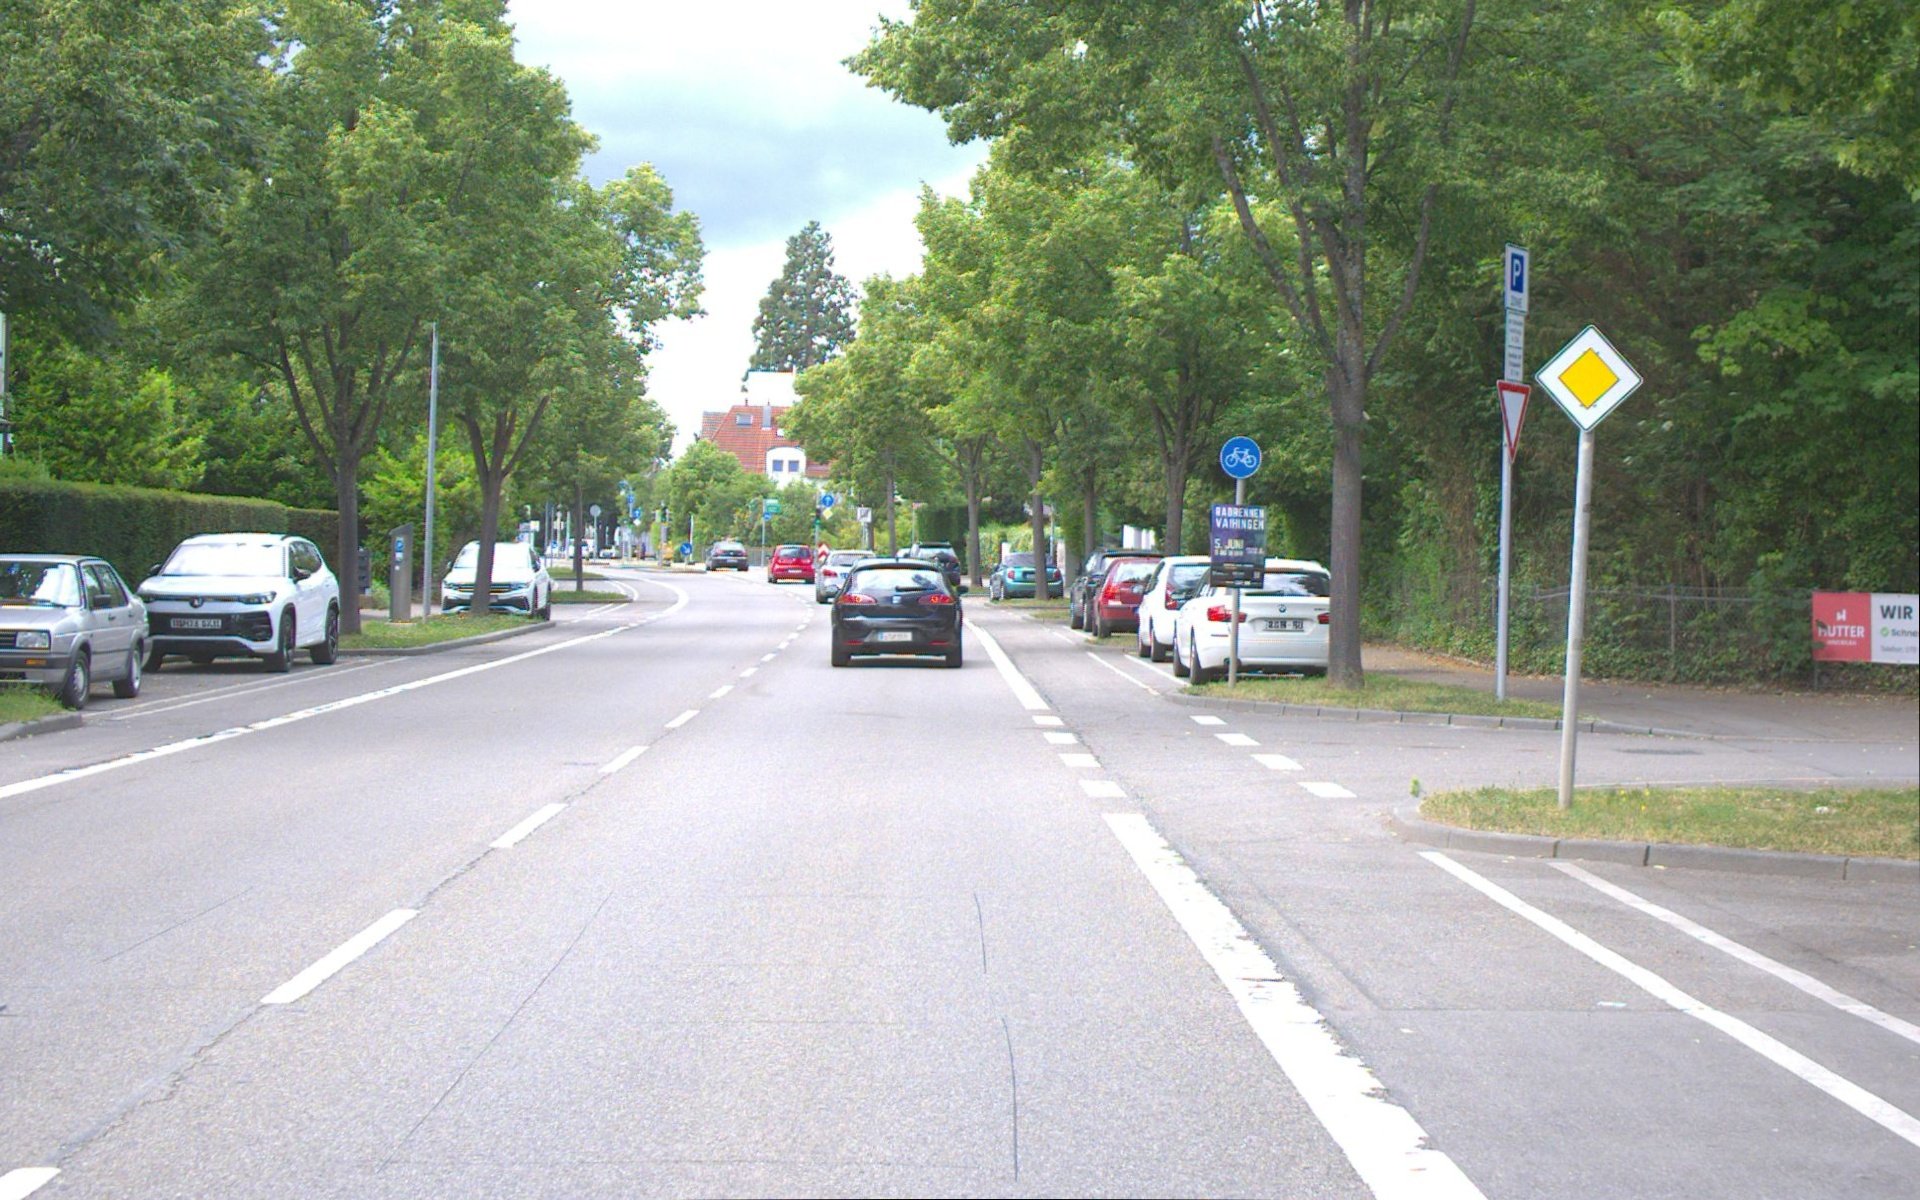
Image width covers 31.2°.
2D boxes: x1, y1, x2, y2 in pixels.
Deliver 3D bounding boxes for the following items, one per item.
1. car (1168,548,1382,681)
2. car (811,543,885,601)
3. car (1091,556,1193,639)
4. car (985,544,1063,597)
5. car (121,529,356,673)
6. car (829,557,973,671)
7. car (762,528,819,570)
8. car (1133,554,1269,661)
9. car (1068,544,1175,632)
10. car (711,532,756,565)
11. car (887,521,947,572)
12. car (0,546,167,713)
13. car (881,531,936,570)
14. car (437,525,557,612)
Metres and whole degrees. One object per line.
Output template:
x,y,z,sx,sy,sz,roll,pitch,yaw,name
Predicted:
3.652,0.126,40.703,2.021,1.438,5.025,1,1,0,car
-3.106,-0.800,94.939,1.993,1.552,4.000,0,1,-2,car
3.209,-0.065,61.042,1.638,1.415,4.000,0,1,1,car
1.763,-0.845,96.038,1.683,1.427,4.045,1,1,-6,car
-8.860,-0.019,42.616,1.817,1.646,4.699,1,1,1,car
-0.828,0.157,45.897,1.783,1.444,3.558,1,1,-3,car
-6.478,-1.939,130.925,1.993,1.525,4.001,1,1,-5,car
3.411,0.085,49.147,1.615,1.455,3.657,0,1,-1,car
3.094,-0.251,66.518,1.638,1.610,4.170,1,1,-3,car
-10.895,-2.469,165.403,1.993,1.503,4.001,1,0,-6,car
-1.549,-1.918,123.427,1.788,1.765,3.983,1,1,-6,car
-8.789,0.230,32.802,1.555,1.465,4.452,1,1,-2,car
-1.956,-1.852,129.467,1.685,1.444,3.580,1,1,-7,car
-9.384,-0.659,70.011,1.873,1.682,4.866,0,1,-1,car
